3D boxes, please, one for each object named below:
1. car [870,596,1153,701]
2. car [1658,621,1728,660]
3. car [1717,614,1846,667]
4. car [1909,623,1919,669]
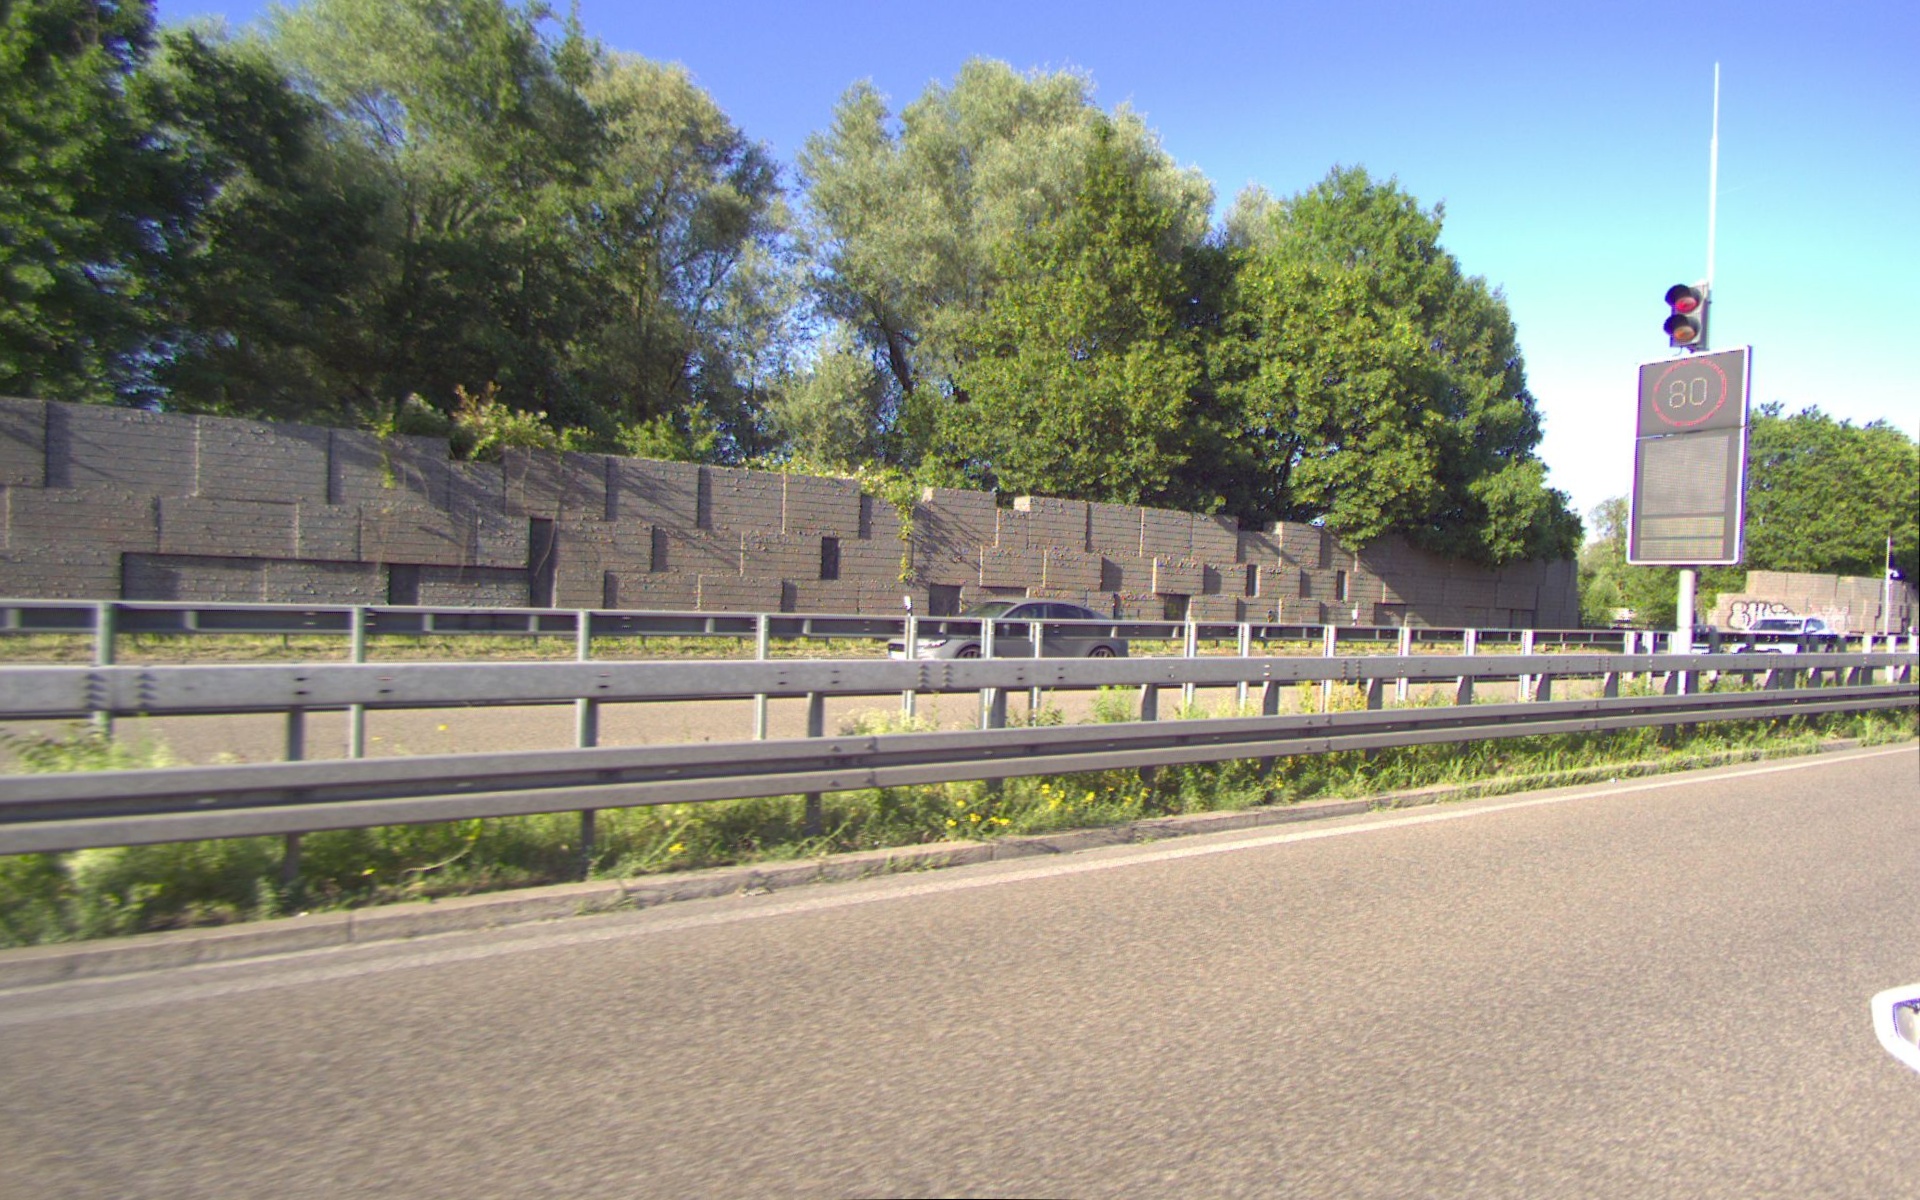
[{"bbox_3d":[0.924,0.753,17.229,4.482,1.500,1.983,1,3,-31],"label":"car"},{"bbox_3d":[31.508,1.695,43.118,1.971,1.406,4.006,4,3,42],"label":"car"},{"bbox_3d":[28.565,1.370,34.897,4.568,1.617,1.983,1,3,-31],"label":"car"},{"bbox_3d":[33.332,1.560,32.874,5.031,1.453,1.983,1,3,-31],"label":"car"}]
